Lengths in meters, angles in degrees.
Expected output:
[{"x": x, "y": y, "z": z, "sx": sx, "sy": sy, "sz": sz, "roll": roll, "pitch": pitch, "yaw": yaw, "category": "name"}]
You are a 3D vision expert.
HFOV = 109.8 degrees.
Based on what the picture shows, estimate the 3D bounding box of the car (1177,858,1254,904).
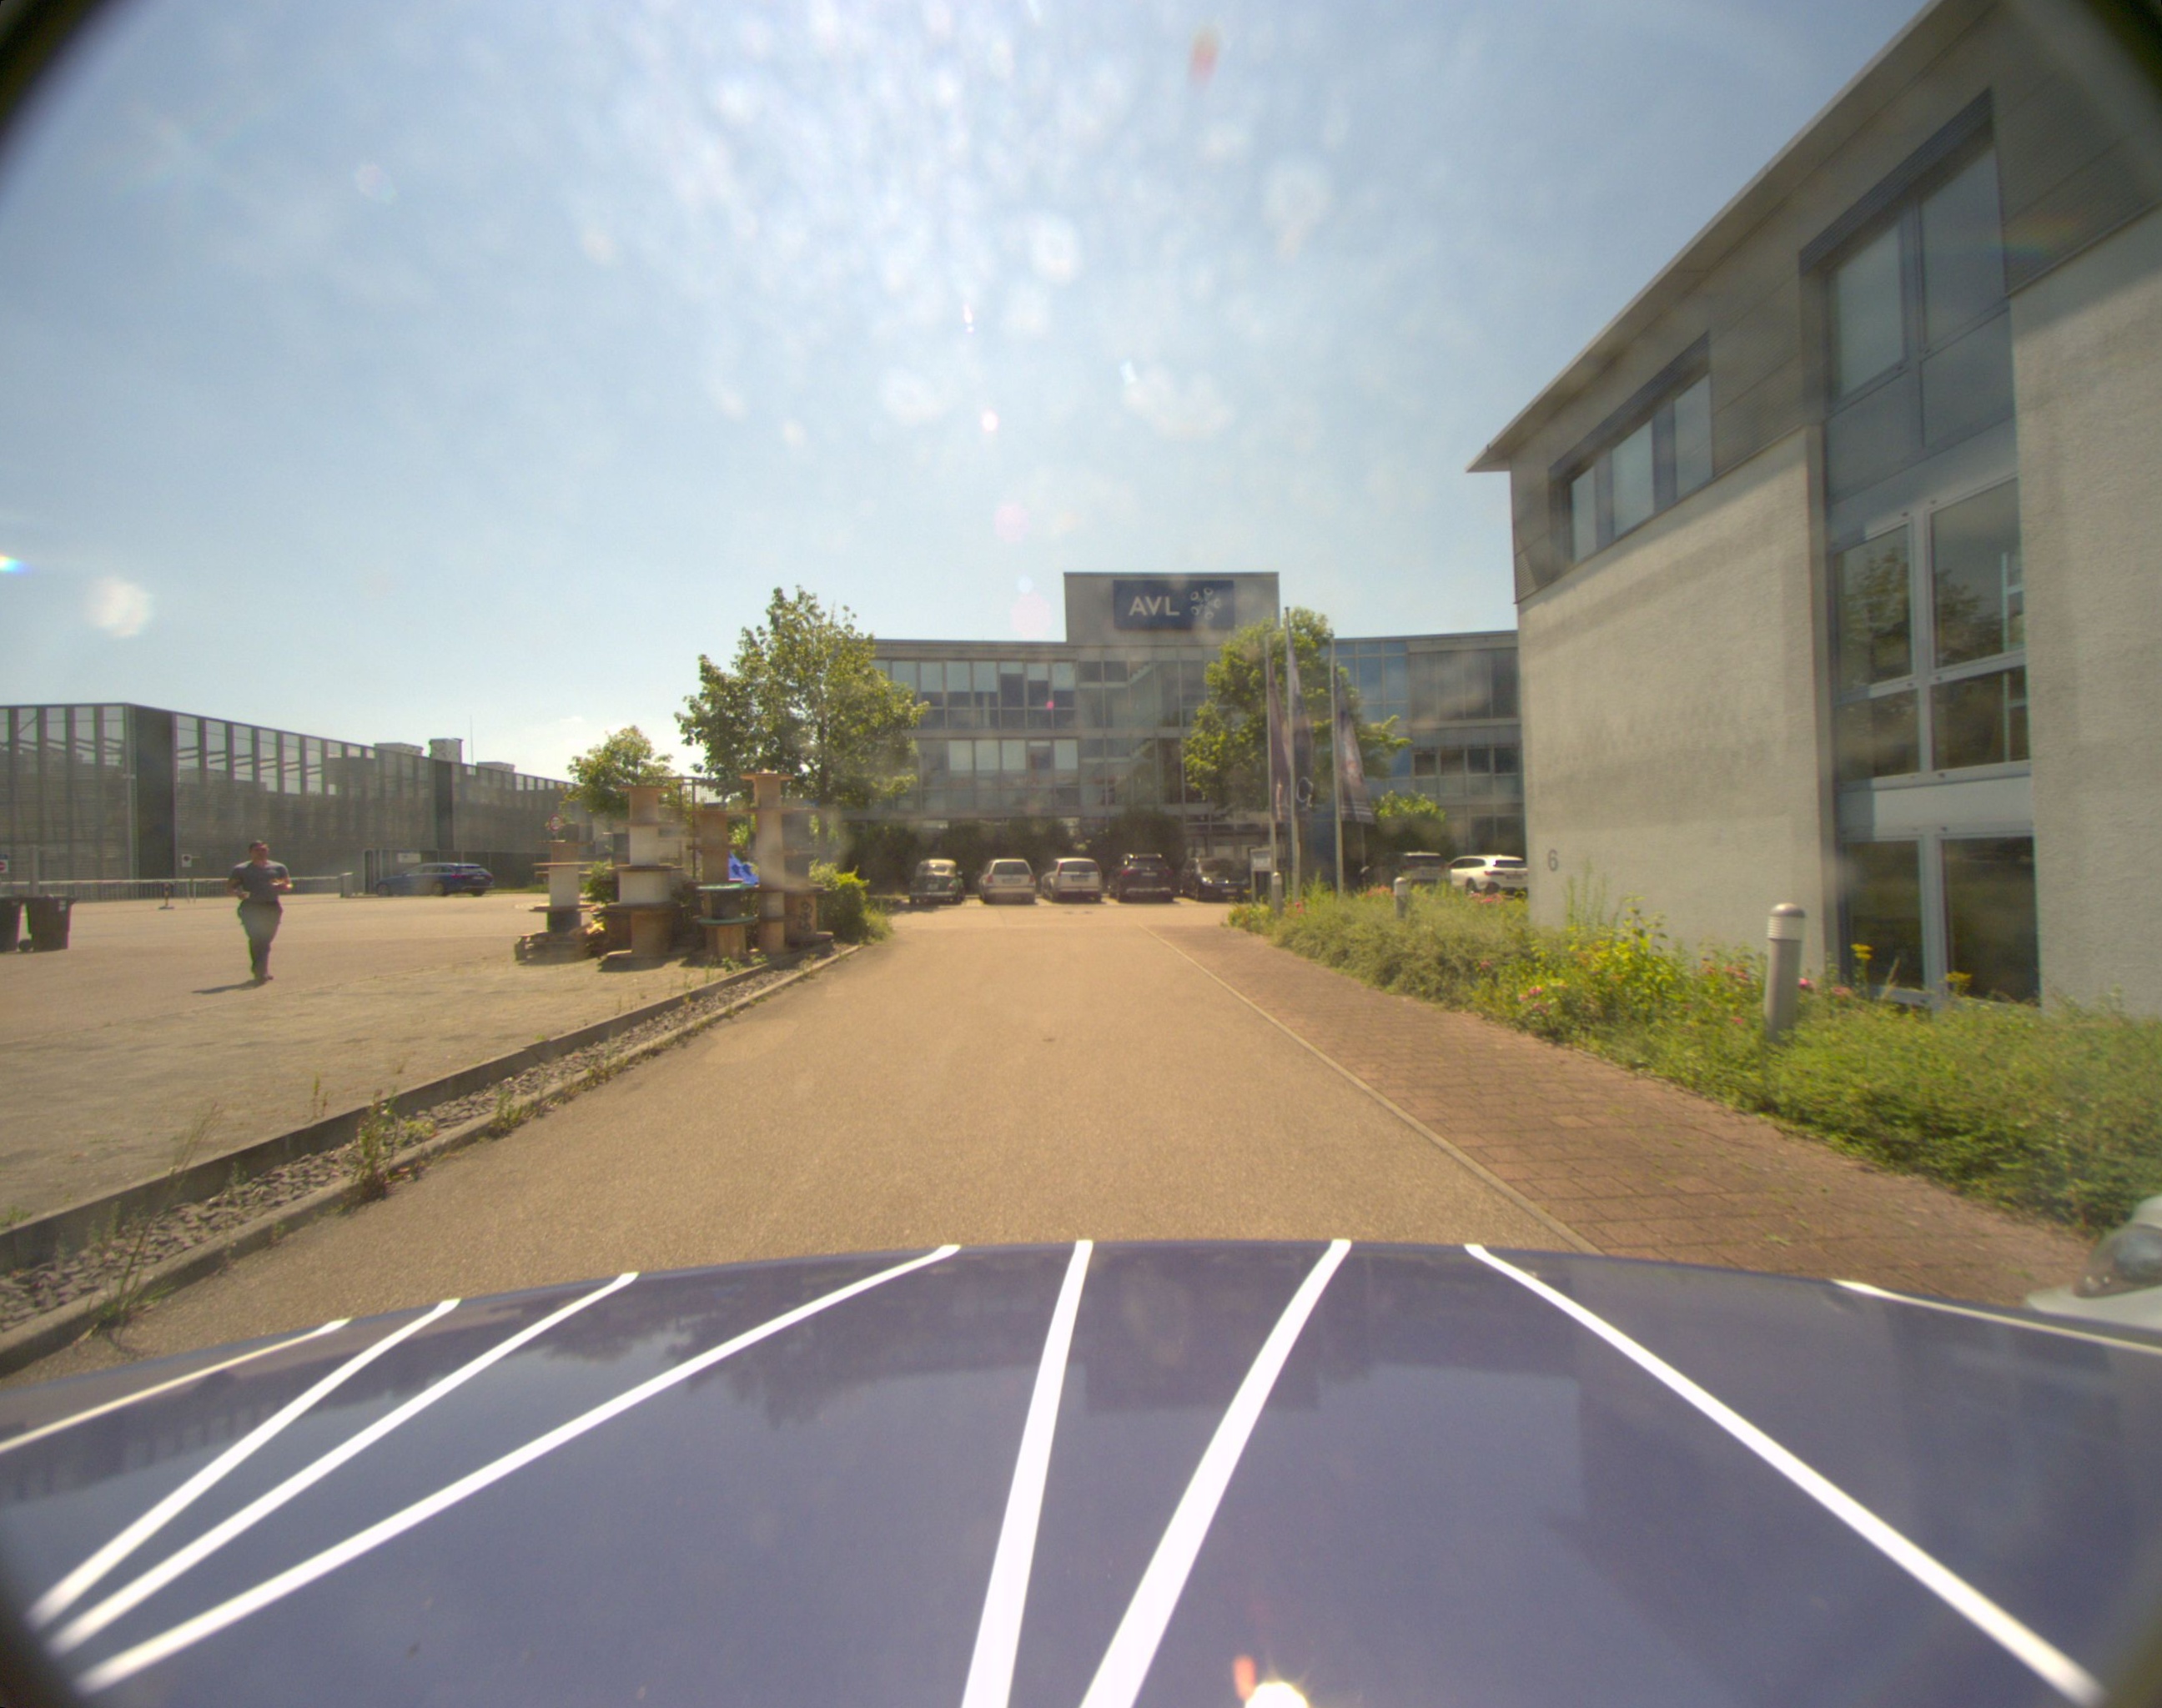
[{"x": 4.665, "y": 0.888, "z": 26.975, "sx": 1.730, "sy": 1.475, "sz": 4.396, "roll": -1, "pitch": 0, "yaw": -3, "category": "car"}]

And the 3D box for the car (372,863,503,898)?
[{"x": -27.743, "y": 1.124, "z": 32.797, "sx": 4.439, "sy": 1.401, "sz": 1.861, "roll": -1, "pitch": 0, "yaw": 10, "category": "car"}]

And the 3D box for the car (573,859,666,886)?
[{"x": -25.783, "y": 1.034, "z": 42.501, "sx": 4.407, "sy": 1.467, "sz": 1.782, "roll": -1, "pitch": 0, "yaw": 13, "category": "car"}]

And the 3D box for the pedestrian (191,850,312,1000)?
[{"x": -10.283, "y": 0.833, "z": 9.432, "sx": 0.767, "sy": 1.758, "sz": 0.810, "roll": 0, "pitch": 1, "yaw": 27, "category": "pedestrian"}]

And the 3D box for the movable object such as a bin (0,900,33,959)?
[{"x": -17.626, "y": 1.227, "z": 12.287, "sx": 0.586, "sy": 0.912, "sz": 0.546, "roll": -1, "pitch": 1, "yaw": -27, "category": "movable object such as a bin"}]

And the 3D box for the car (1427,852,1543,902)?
[{"x": 14.151, "y": 0.746, "z": 26.889, "sx": 1.832, "sy": 1.628, "sz": 4.171, "roll": 0, "pitch": 0, "yaw": -1, "category": "car"}]

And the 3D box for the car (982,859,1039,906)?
[{"x": -2.476, "y": 0.934, "z": 26.013, "sx": 1.643, "sy": 1.443, "sz": 3.597, "roll": 0, "pitch": 1, "yaw": -10, "category": "car"}]

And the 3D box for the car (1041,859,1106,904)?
[{"x": -0.329, "y": 0.913, "z": 26.767, "sx": 1.733, "sy": 1.443, "sz": 3.597, "roll": 0, "pitch": 1, "yaw": -10, "category": "car"}]

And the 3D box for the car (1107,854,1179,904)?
[{"x": 2.103, "y": 0.827, "z": 26.753, "sx": 1.939, "sy": 1.593, "sz": 3.857, "roll": 0, "pitch": 1, "yaw": -4, "category": "car"}]

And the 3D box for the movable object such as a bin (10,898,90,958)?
[{"x": -17.042, "y": 1.208, "z": 12.575, "sx": 0.586, "sy": 0.912, "sz": 0.546, "roll": -1, "pitch": 1, "yaw": -27, "category": "movable object such as a bin"}]

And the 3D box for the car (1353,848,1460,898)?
[{"x": 11.491, "y": 0.636, "z": 27.162, "sx": 1.832, "sy": 1.628, "sz": 4.170, "roll": 0, "pitch": 0, "yaw": -3, "category": "car"}]

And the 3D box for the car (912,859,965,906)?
[{"x": -4.750, "y": 0.923, "z": 25.694, "sx": 1.522, "sy": 1.437, "sz": 3.417, "roll": 0, "pitch": 0, "yaw": -6, "category": "car"}]
